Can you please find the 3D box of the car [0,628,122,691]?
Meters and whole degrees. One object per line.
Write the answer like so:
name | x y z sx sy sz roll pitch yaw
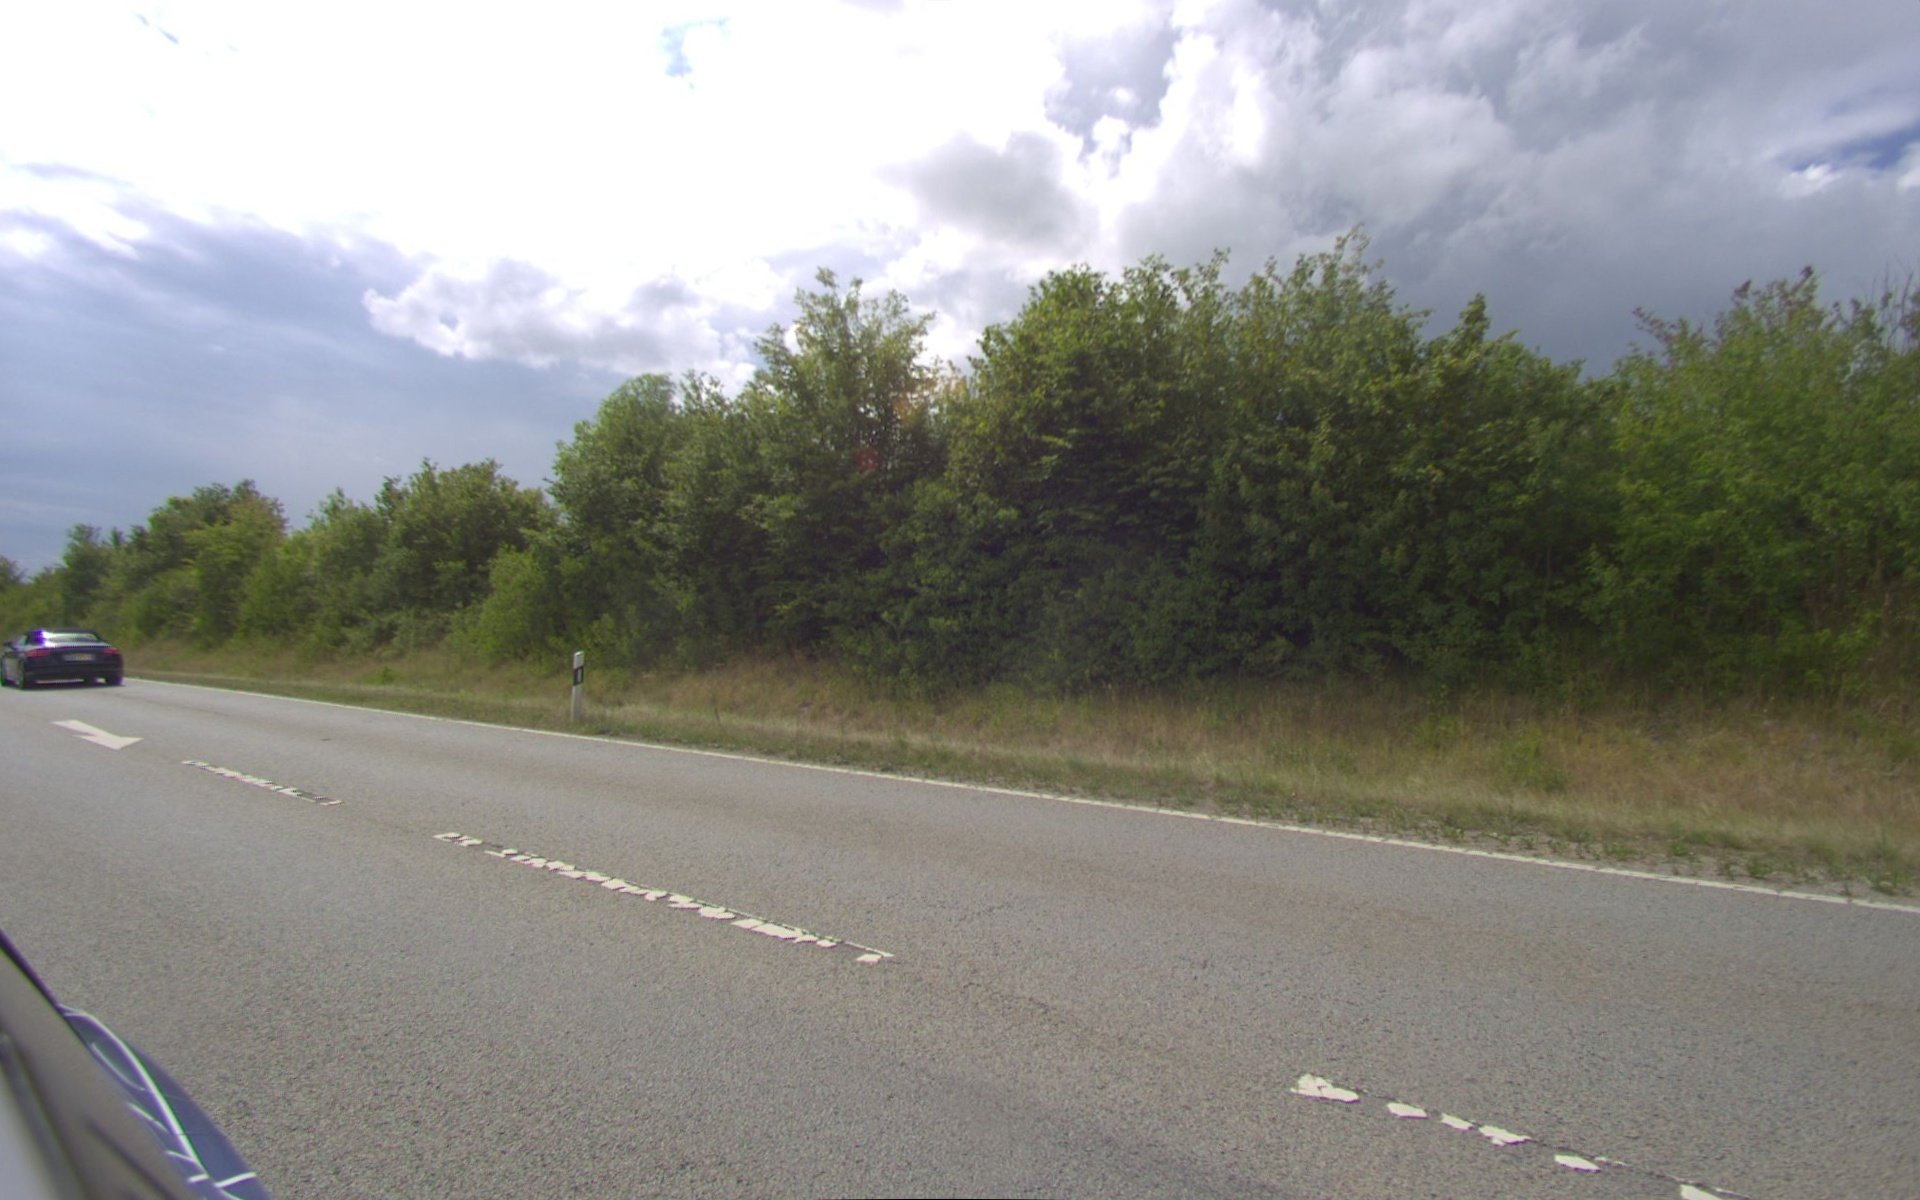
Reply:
car | -21.146 1.331 23.604 3.995 1.340 1.684 -2 -2 39
